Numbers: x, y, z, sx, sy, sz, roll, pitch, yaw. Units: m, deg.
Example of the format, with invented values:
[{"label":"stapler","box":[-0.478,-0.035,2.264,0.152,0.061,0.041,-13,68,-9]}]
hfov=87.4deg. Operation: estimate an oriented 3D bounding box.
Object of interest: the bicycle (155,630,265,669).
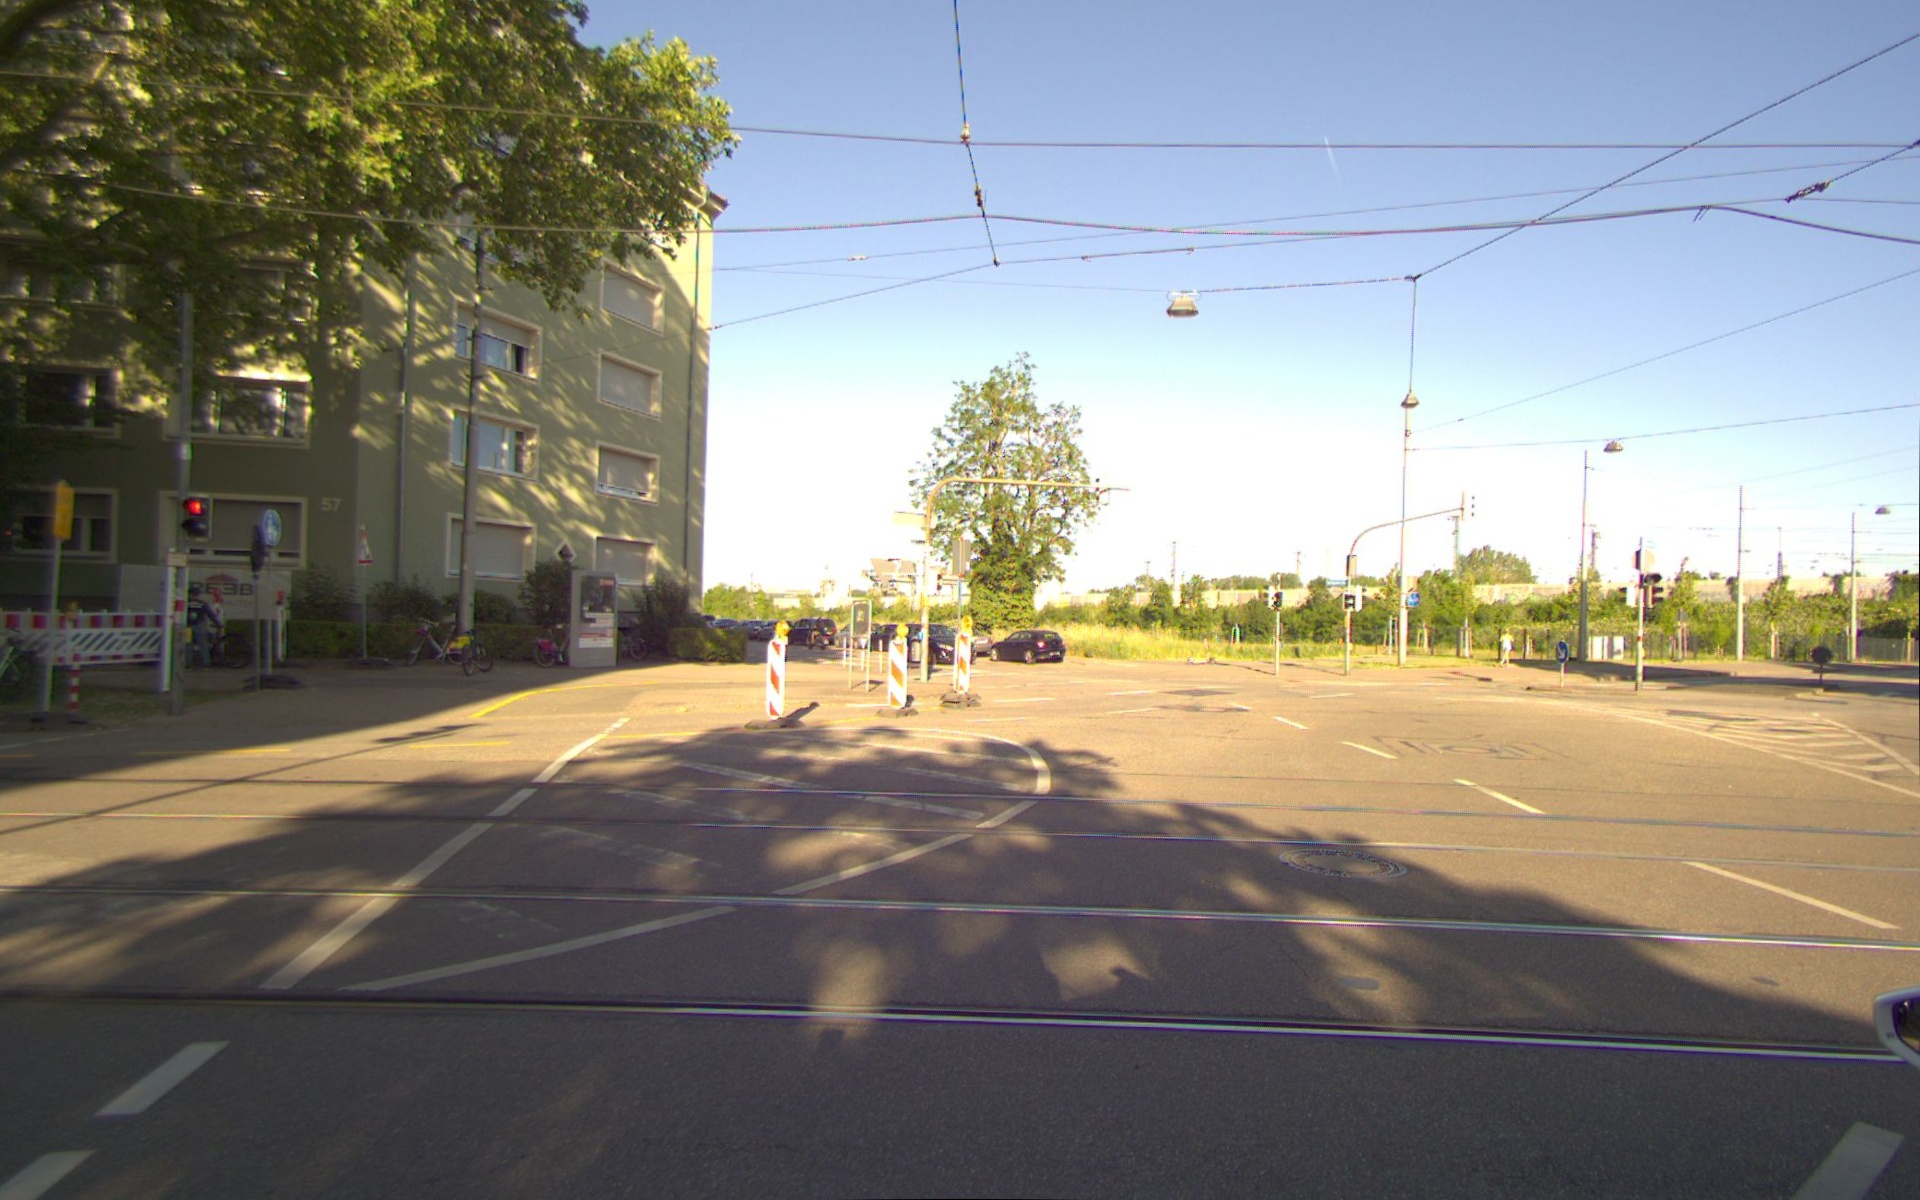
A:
[{"label":"bicycle","box":[-15.191,1.006,20.397,1.763,0.769,0.354,2,-1,-37]}]

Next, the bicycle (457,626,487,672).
[{"label":"bicycle","box":[-10.248,1.007,21.121,0.353,0.900,1.772,2,-1,-20]}]

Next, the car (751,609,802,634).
[{"label":"car","box":[-12.417,1.410,67.912,1.874,1.439,3.961,-5,3,-34]}]

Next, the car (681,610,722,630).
[{"label":"car","box":[-21.211,1.619,82.346,1.874,1.439,3.961,-5,3,-34]}]

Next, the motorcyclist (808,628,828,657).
[{"label":"motorcyclist","box":[-7.472,2.226,52.801,0.709,1.452,0.786,2,0,-40]}]

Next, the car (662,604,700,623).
[{"label":"car","box":[-24.275,1.183,87.280,1.874,1.439,3.961,-5,3,-34]}]

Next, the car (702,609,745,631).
[{"label":"car","box":[-18.251,1.533,77.413,1.874,1.439,3.961,-5,3,-34]}]

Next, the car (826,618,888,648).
[{"label":"car","box":[-6.001,1.886,58.197,1.874,1.439,3.961,-5,3,-34]}]

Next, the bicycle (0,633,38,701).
[{"label":"bicycle","box":[-13.354,0.922,13.850,0.353,0.900,1.566,2,-1,-20]}]

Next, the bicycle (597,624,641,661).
[{"label":"bicycle","box":[-10.714,1.323,31.541,1.484,1.102,0.358,1,-1,27]}]

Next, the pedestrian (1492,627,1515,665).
[{"label":"pedestrian","box":[23.800,2.023,43.959,0.678,1.617,0.595,2,0,-34]}]

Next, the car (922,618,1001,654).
[{"label":"car","box":[0.043,1.717,48.968,1.874,1.439,3.961,-5,3,-34]}]

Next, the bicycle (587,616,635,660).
[{"label":"bicycle","box":[-10.175,1.110,29.238,1.484,1.221,0.358,1,-1,27]}]

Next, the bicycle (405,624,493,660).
[{"label":"bicycle","box":[-11.533,0.949,22.710,0.353,0.769,1.773,1,-1,39]}]

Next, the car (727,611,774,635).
[{"label":"car","box":[-15.007,1.641,71.842,1.874,1.439,3.961,-5,3,-34]}]

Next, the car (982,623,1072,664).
[{"label":"car","box":[2.882,1.859,44.055,1.874,1.439,3.961,-5,3,-34]}]

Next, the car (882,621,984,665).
[{"label":"car","box":[-1.063,1.531,37.319,1.980,1.439,3.961,1,0,-34]}]

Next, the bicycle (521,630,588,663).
[{"label":"bicycle","box":[-9.786,1.113,24.291,0.351,0.769,1.780,1,-1,22]}]

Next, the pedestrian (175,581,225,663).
[{"label":"pedestrian","box":[-15.040,0.428,19.896,0.735,1.589,0.596,2,-1,-36]}]

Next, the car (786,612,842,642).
[{"label":"car","box":[-9.203,1.672,63.130,1.874,1.590,3.961,-5,3,-34]}]
